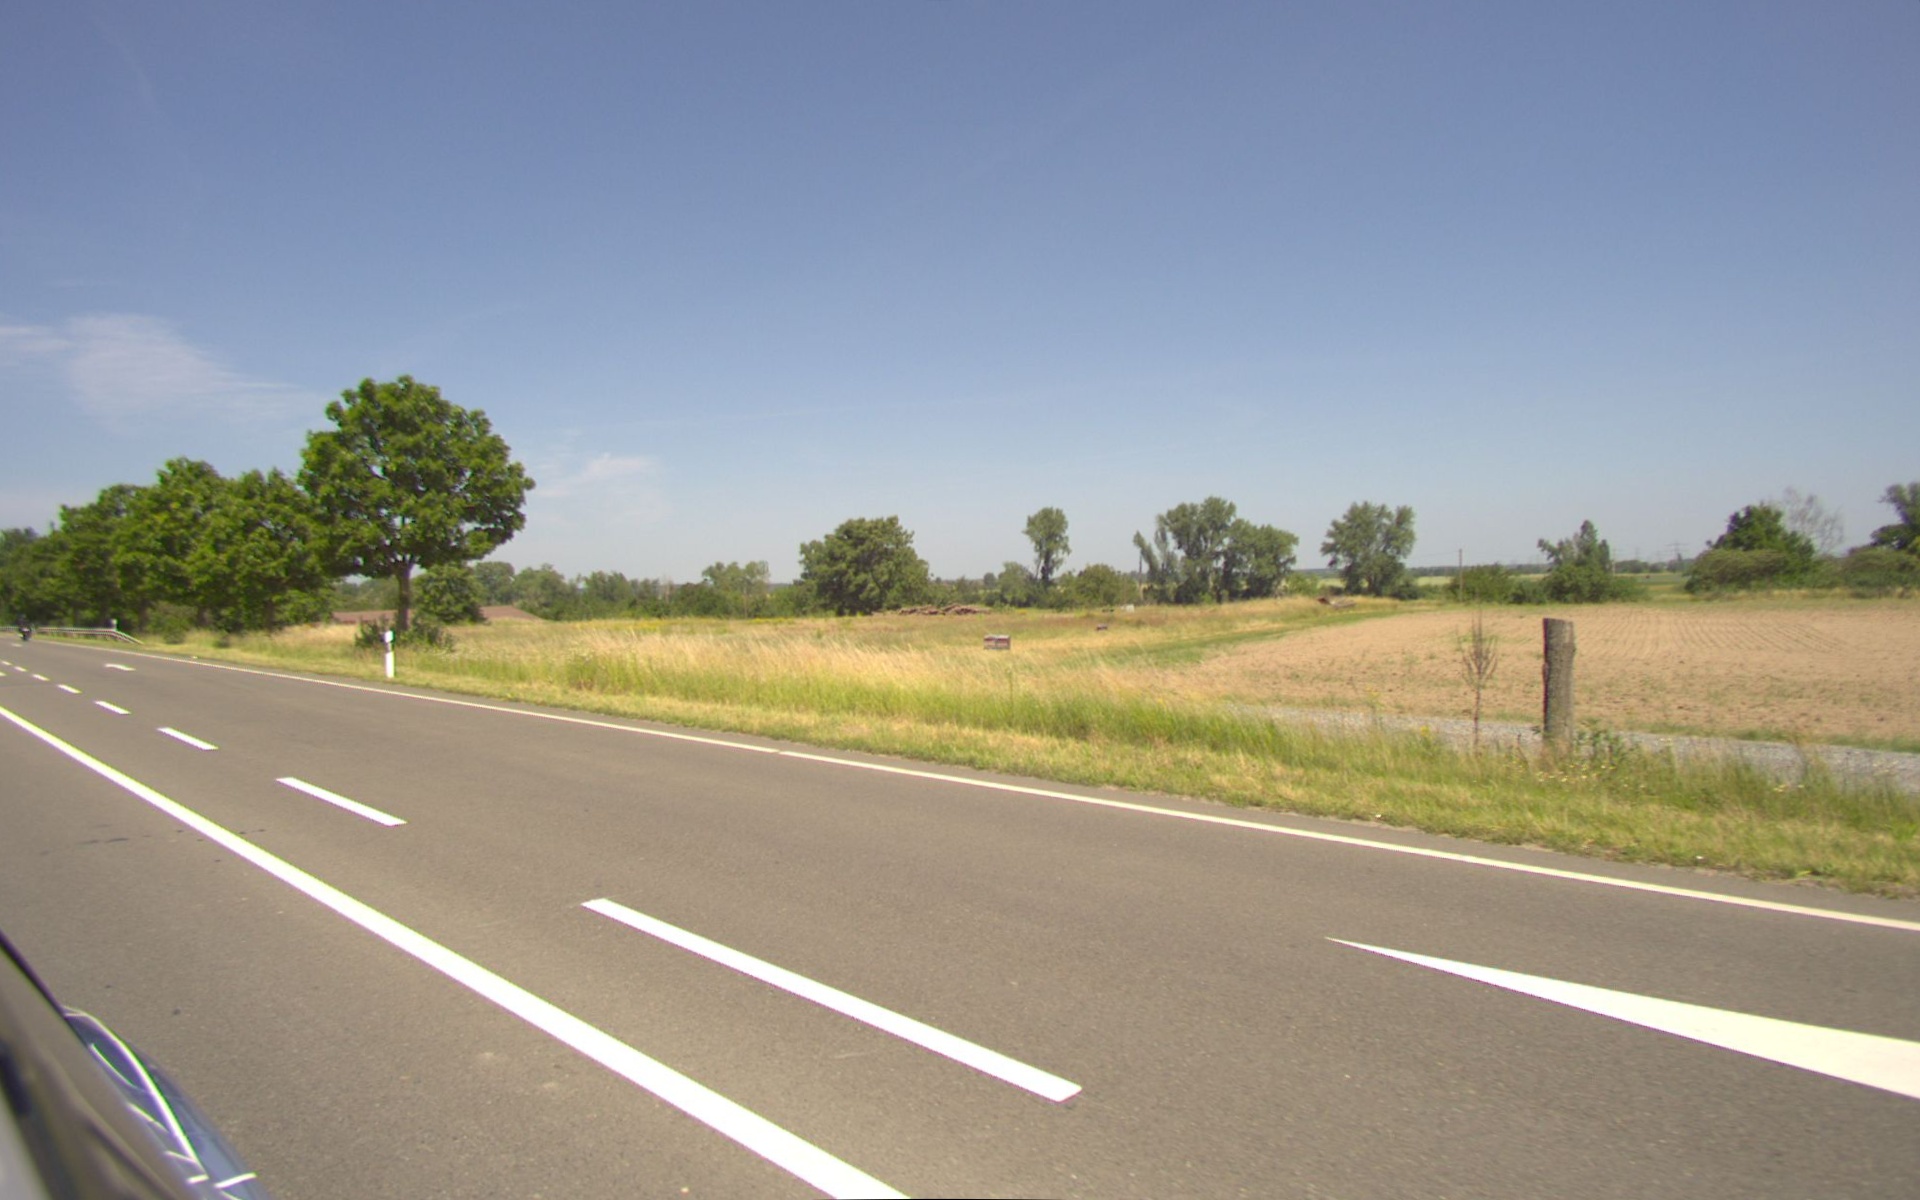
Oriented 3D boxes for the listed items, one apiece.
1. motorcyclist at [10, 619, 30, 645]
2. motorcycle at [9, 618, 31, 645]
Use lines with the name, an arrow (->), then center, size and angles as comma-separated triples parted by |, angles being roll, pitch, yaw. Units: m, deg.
motorcyclist -> -62.253, 2.112, 67.018 | 1.088, 1.734, 0.844 | -1, -1, 40
motorcycle -> -62.182, 2.094, 66.965 | 2.445, 1.756, 0.879 | -1, -1, 43
